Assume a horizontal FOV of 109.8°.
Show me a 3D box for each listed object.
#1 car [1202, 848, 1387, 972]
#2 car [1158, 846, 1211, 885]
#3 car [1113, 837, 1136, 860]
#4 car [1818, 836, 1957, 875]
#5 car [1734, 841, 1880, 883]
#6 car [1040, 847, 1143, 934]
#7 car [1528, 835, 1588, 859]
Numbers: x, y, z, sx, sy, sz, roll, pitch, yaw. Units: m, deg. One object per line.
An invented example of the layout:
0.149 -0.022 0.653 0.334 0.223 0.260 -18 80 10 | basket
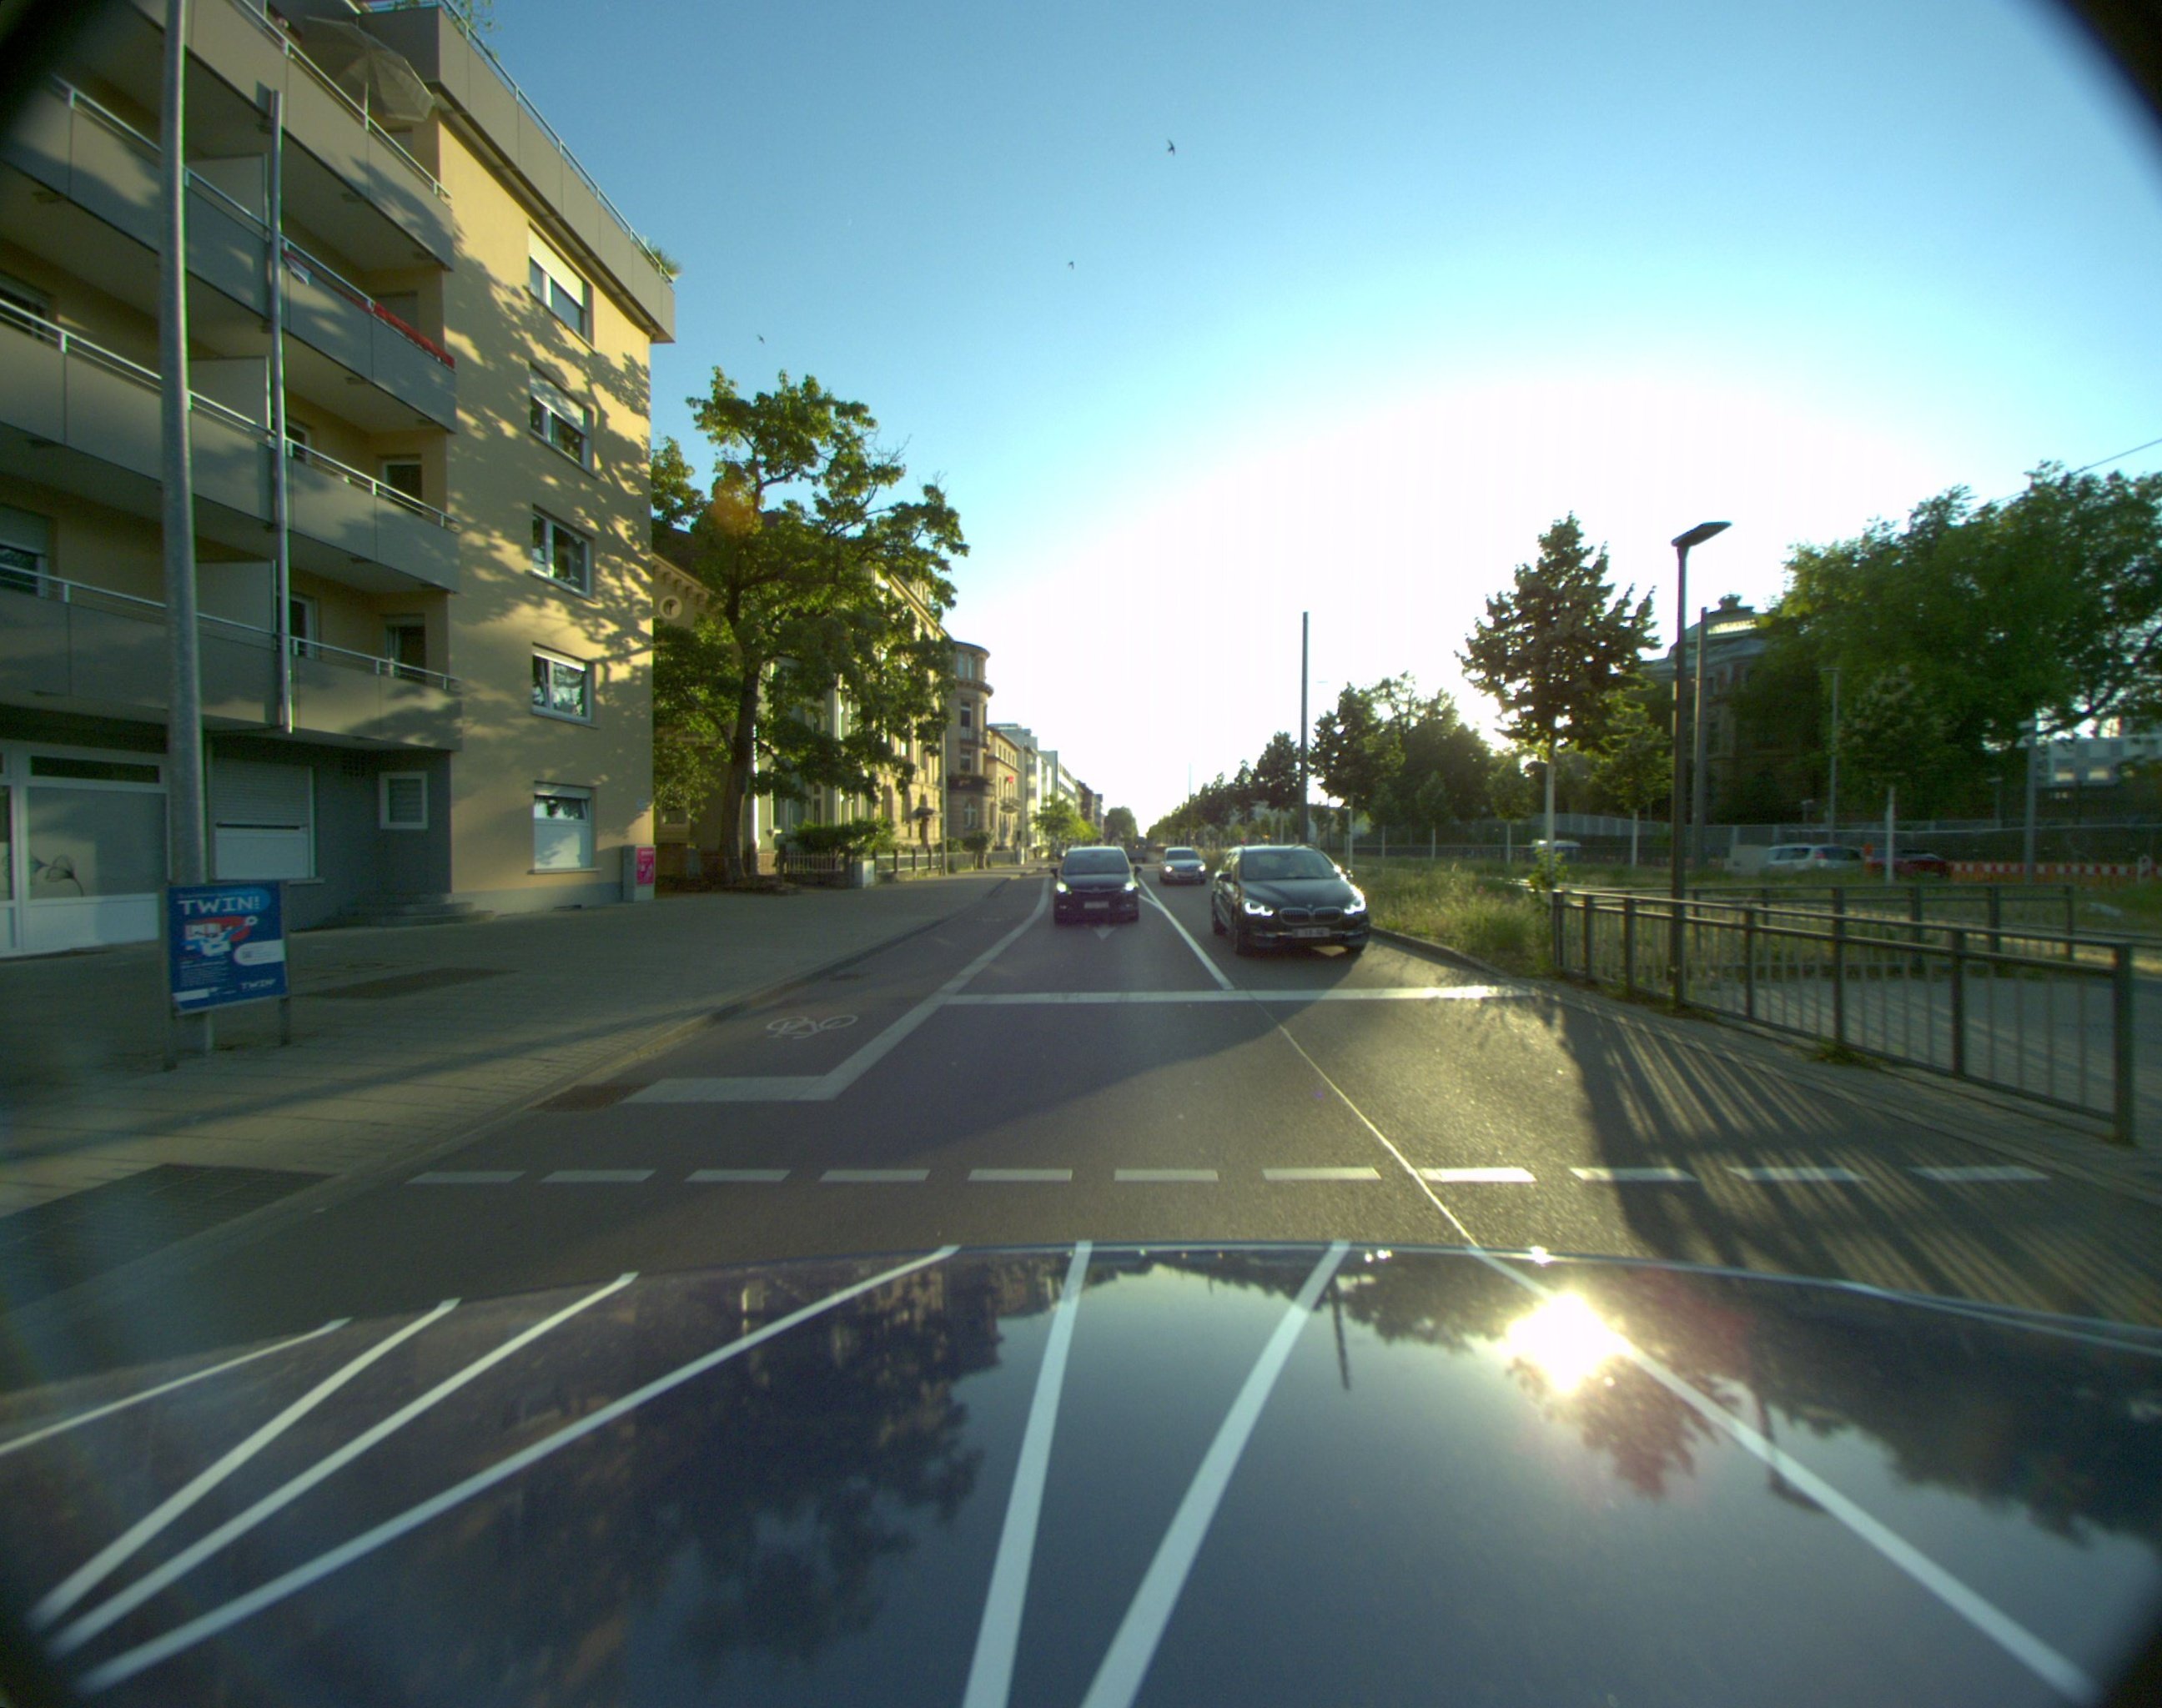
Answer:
3.112 0.710 12.115 1.825 1.510 4.792 -2 1 3 | car
4.249 0.428 31.715 1.832 1.455 4.303 -2 1 3 | car
3.819 -0.511 67.670 1.727 1.910 4.294 -2 1 0 | car
31.148 0.022 29.517 1.695 1.362 3.695 -2 1 6 | car
26.014 0.249 27.418 1.771 1.362 3.718 -2 1 2 | car
0.368 0.694 16.781 1.826 1.589 4.368 -2 1 6 | car
32.472 -0.481 51.858 1.848 1.551 3.800 -2 1 3 | car
